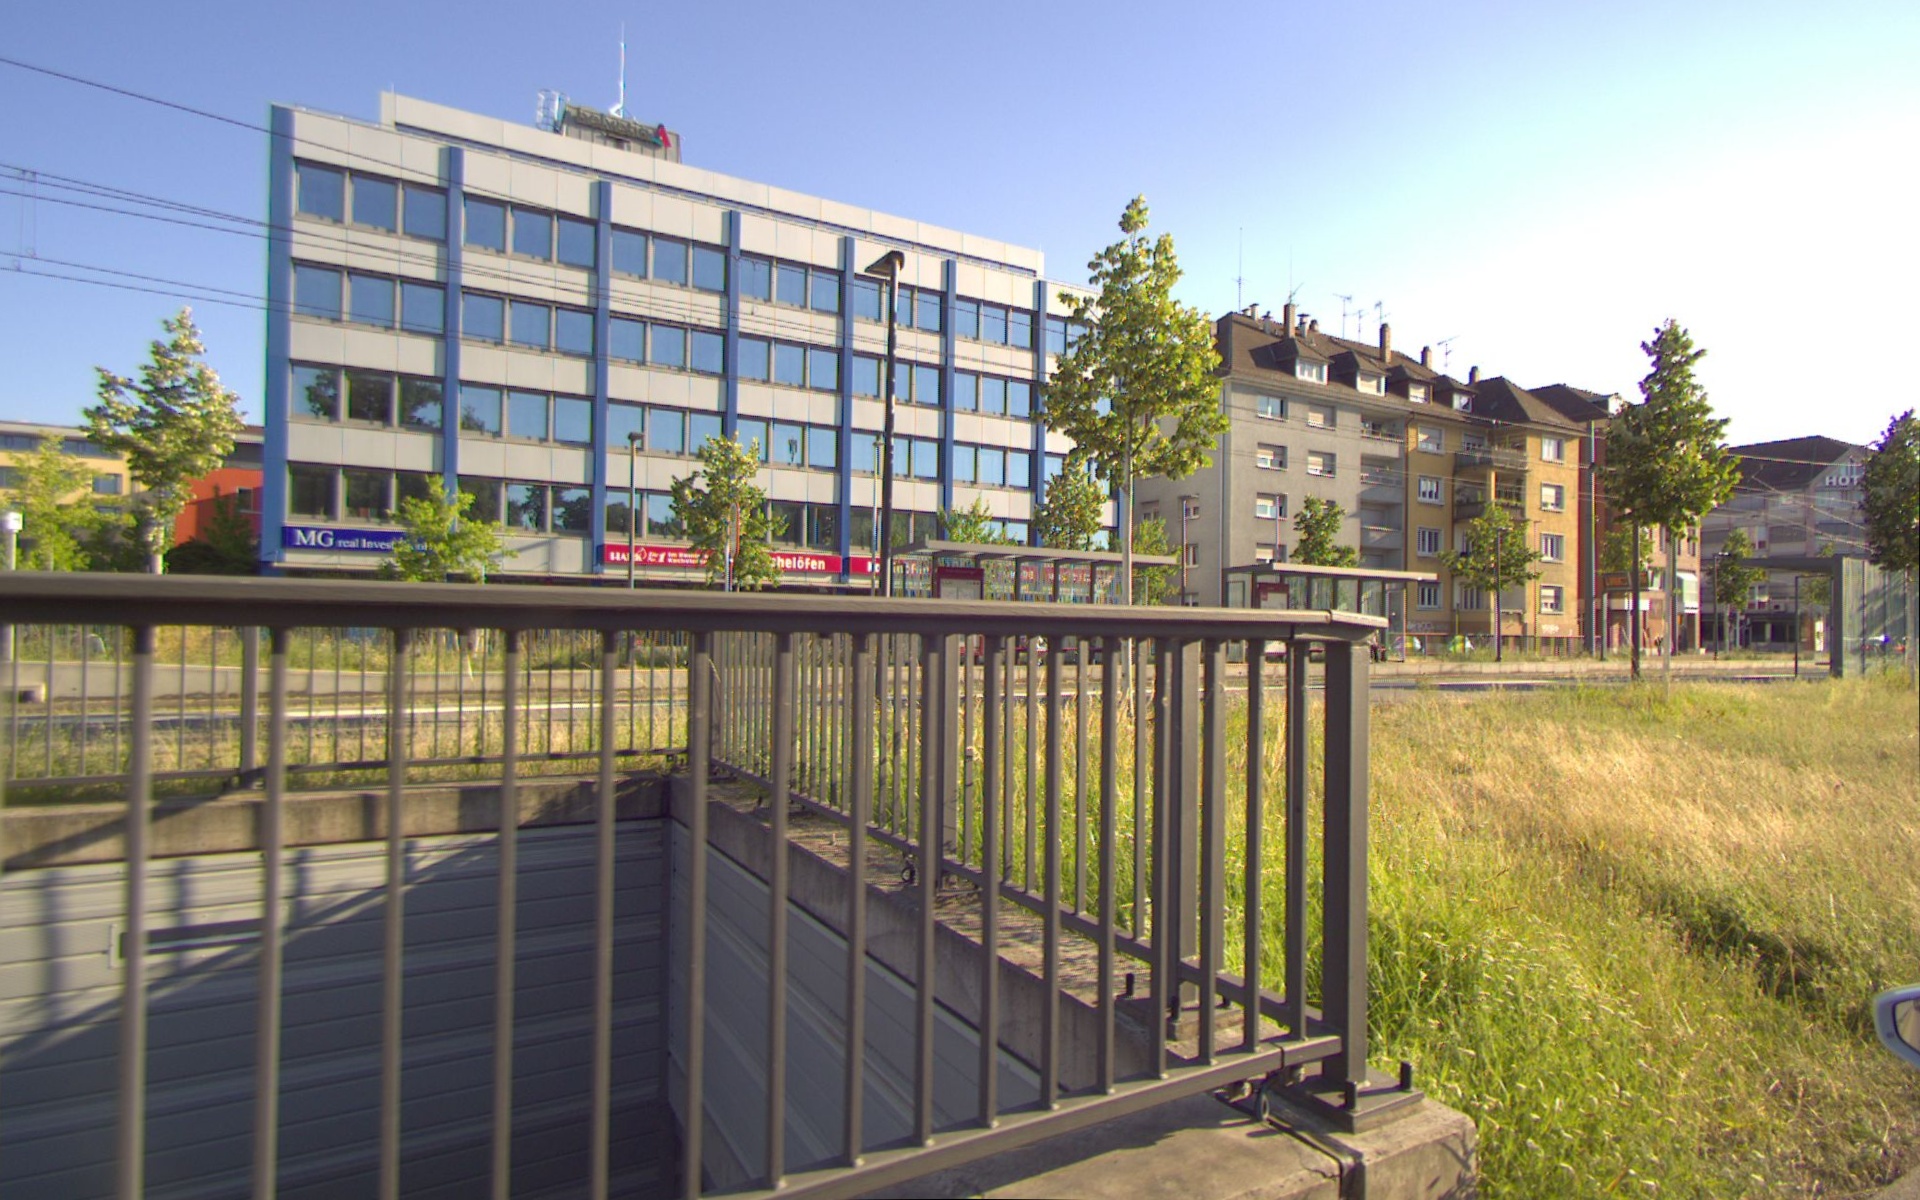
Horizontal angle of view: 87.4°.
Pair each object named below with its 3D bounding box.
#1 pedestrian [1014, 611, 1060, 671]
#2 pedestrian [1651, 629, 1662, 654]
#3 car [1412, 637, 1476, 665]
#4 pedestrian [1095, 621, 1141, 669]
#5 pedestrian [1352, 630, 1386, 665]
[{"bbox_3d":[1.892,1.005,24.709,0.794,1.429,0.834,2,-1,-31],"label":"pedestrian"},{"bbox_3d":[52.119,3.091,75.135,0.543,1.847,0.482,2,-1,-33],"label":"pedestrian"},{"bbox_3d":[27.916,2.932,57.940,3.512,1.506,1.738,2,-1,-31],"label":"car"},{"bbox_3d":[4.085,1.148,25.991,0.755,1.213,0.929,2,-2,-31],"label":"pedestrian"},{"bbox_3d":[12.553,1.449,30.823,0.785,1.061,0.624,2,-2,-31],"label":"pedestrian"}]
